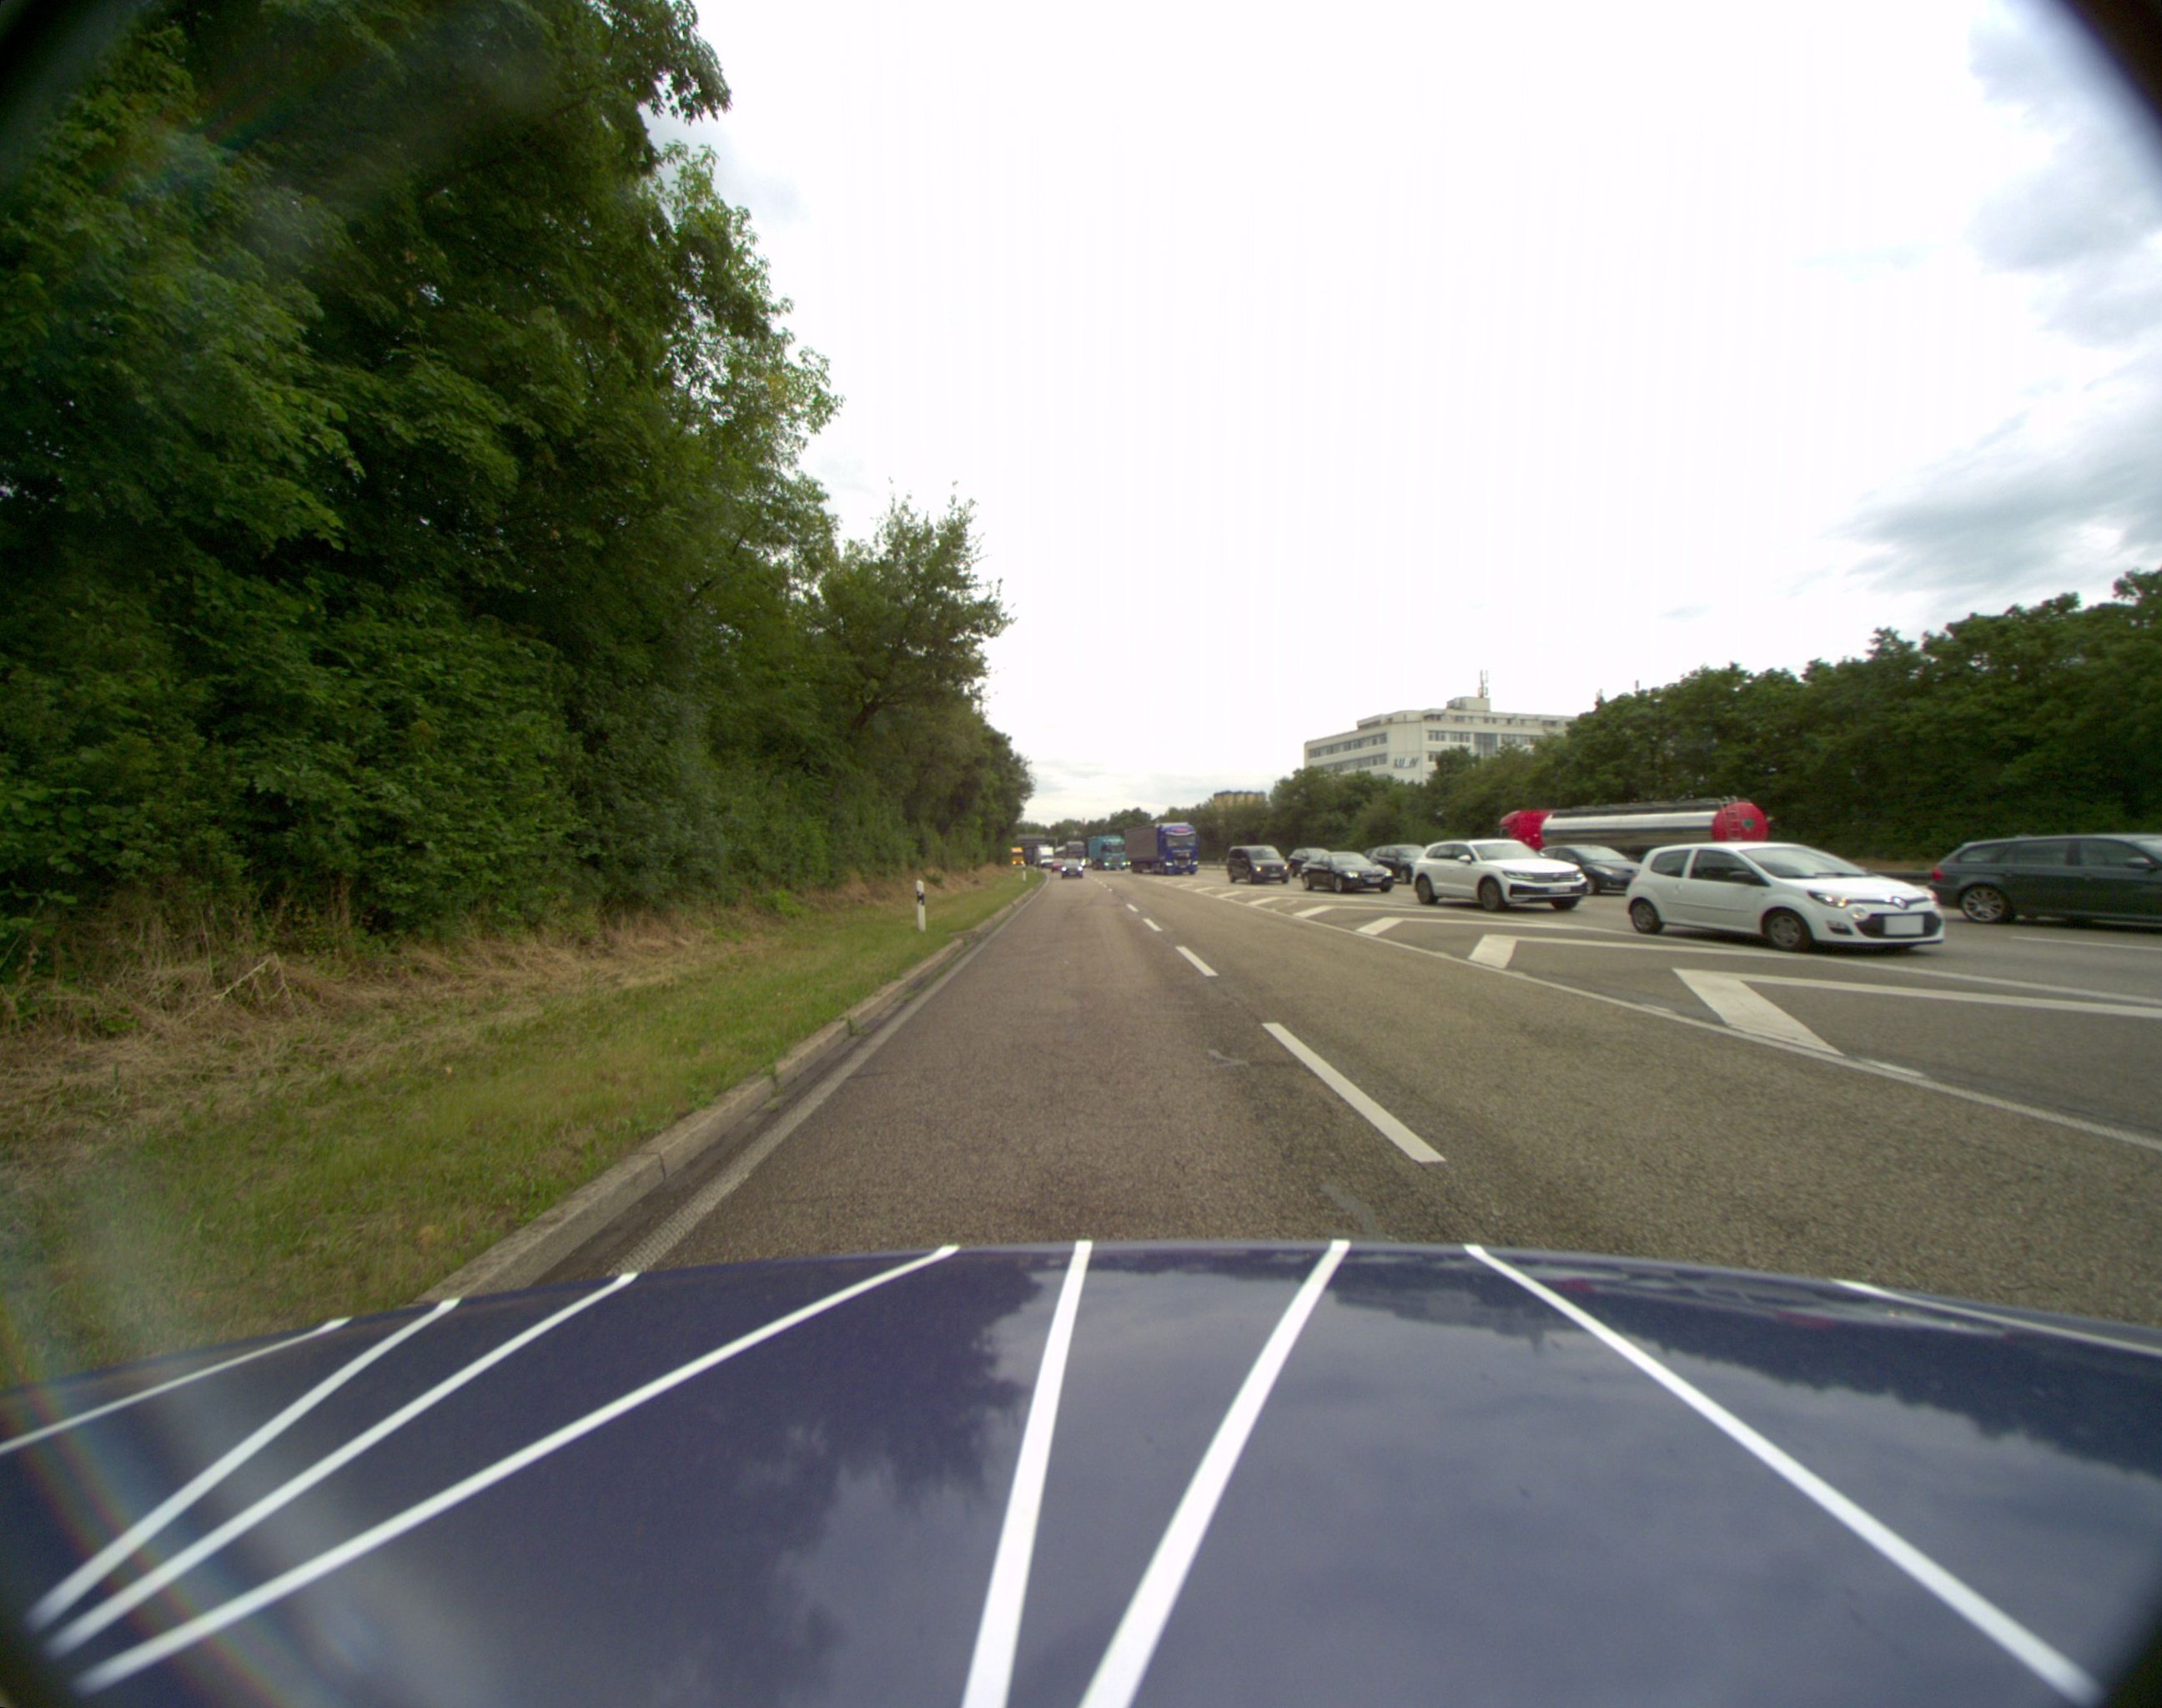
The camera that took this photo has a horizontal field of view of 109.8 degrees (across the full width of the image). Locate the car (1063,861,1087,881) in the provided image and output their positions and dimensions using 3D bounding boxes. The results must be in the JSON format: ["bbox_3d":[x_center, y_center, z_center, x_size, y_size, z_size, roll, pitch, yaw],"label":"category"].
[{"bbox_3d":[-0.513,1.265,59.081,1.628,1.433,3.999,-1,0,-4],"label":"car"}]

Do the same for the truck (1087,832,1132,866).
[{"bbox_3d":[3.204,-0.523,88.976,2.939,3.774,11.320,-1,0,-10],"label":"truck"}]

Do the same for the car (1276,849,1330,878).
[{"bbox_3d":[12.983,0.535,44.643,1.691,1.565,3.998,-1,0,-5],"label":"car"}]

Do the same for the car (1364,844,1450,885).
[{"bbox_3d":[14.023,0.443,32.906,1.650,1.602,3.998,-1,0,-6],"label":"car"}]

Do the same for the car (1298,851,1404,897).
[{"bbox_3d":[9.748,0.646,27.911,1.852,1.451,4.828,-2,1,-4],"label":"car"}]

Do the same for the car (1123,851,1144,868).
[{"bbox_3d":[6.612,0.713,95.650,1.674,2.002,3.997,-1,0,-10],"label":"car"}]

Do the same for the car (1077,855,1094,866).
[{"bbox_3d":[0.619,0.882,103.068,1.753,1.413,3.661,-1,0,-9],"label":"car"}]

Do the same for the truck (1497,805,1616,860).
[{"bbox_3d":[24.681,-1.060,39.794,2.331,2.607,5.687,-2,1,-4],"label":"truck"}]

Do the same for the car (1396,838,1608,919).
[{"bbox_3d":[9.980,0.517,18.671,1.916,1.650,5.377,-1,0,-4],"label":"car"}]

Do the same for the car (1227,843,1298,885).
[{"bbox_3d":[8.990,0.471,38.115,1.999,1.894,5.077,-3,0,-4],"label":"car"}]

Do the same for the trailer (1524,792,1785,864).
[{"bbox_3d":[25.071,-1.031,34.456,2.478,2.655,11.370,-2,1,-5],"label":"trailer"}]

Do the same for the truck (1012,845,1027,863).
[{"bbox_3d":[-14.079,-0.080,173.467,2.548,3.950,6.468,-1,0,-10],"label":"truck"}]

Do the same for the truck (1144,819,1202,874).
[{"bbox_3d":[7.152,-0.557,59.802,2.569,4.019,6.582,-3,1,-10],"label":"truck"}]

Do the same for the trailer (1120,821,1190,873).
[{"bbox_3d":[6.187,-0.576,66.431,2.635,3.999,13.451,-3,1,-9],"label":"trailer"}]

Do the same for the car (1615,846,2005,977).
[{"bbox_3d":[9.864,0.665,10.811,1.582,1.482,4.035,-1,0,-2],"label":"car"}]

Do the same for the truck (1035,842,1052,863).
[{"bbox_3d":[-7.042,-0.262,142.169,2.547,3.950,6.469,-1,0,-8],"label":"truck"}]

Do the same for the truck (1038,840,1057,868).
[{"bbox_3d":[-5.081,-0.015,114.116,2.255,3.950,6.623,-1,0,-8],"label":"truck"}]

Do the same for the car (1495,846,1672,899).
[{"bbox_3d":[15.151,0.520,23.319,1.999,1.406,4.806,-2,0,-4],"label":"car"}]

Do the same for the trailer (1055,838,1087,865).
[{"bbox_3d":[-1.771,-0.353,121.081,2.847,4.013,13.074,-1,0,-11],"label":"trailer"}]

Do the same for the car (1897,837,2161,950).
[{"bbox_3d":[15.103,0.508,10.849,1.718,1.440,4.699,-2,1,-2],"label":"car"}]
